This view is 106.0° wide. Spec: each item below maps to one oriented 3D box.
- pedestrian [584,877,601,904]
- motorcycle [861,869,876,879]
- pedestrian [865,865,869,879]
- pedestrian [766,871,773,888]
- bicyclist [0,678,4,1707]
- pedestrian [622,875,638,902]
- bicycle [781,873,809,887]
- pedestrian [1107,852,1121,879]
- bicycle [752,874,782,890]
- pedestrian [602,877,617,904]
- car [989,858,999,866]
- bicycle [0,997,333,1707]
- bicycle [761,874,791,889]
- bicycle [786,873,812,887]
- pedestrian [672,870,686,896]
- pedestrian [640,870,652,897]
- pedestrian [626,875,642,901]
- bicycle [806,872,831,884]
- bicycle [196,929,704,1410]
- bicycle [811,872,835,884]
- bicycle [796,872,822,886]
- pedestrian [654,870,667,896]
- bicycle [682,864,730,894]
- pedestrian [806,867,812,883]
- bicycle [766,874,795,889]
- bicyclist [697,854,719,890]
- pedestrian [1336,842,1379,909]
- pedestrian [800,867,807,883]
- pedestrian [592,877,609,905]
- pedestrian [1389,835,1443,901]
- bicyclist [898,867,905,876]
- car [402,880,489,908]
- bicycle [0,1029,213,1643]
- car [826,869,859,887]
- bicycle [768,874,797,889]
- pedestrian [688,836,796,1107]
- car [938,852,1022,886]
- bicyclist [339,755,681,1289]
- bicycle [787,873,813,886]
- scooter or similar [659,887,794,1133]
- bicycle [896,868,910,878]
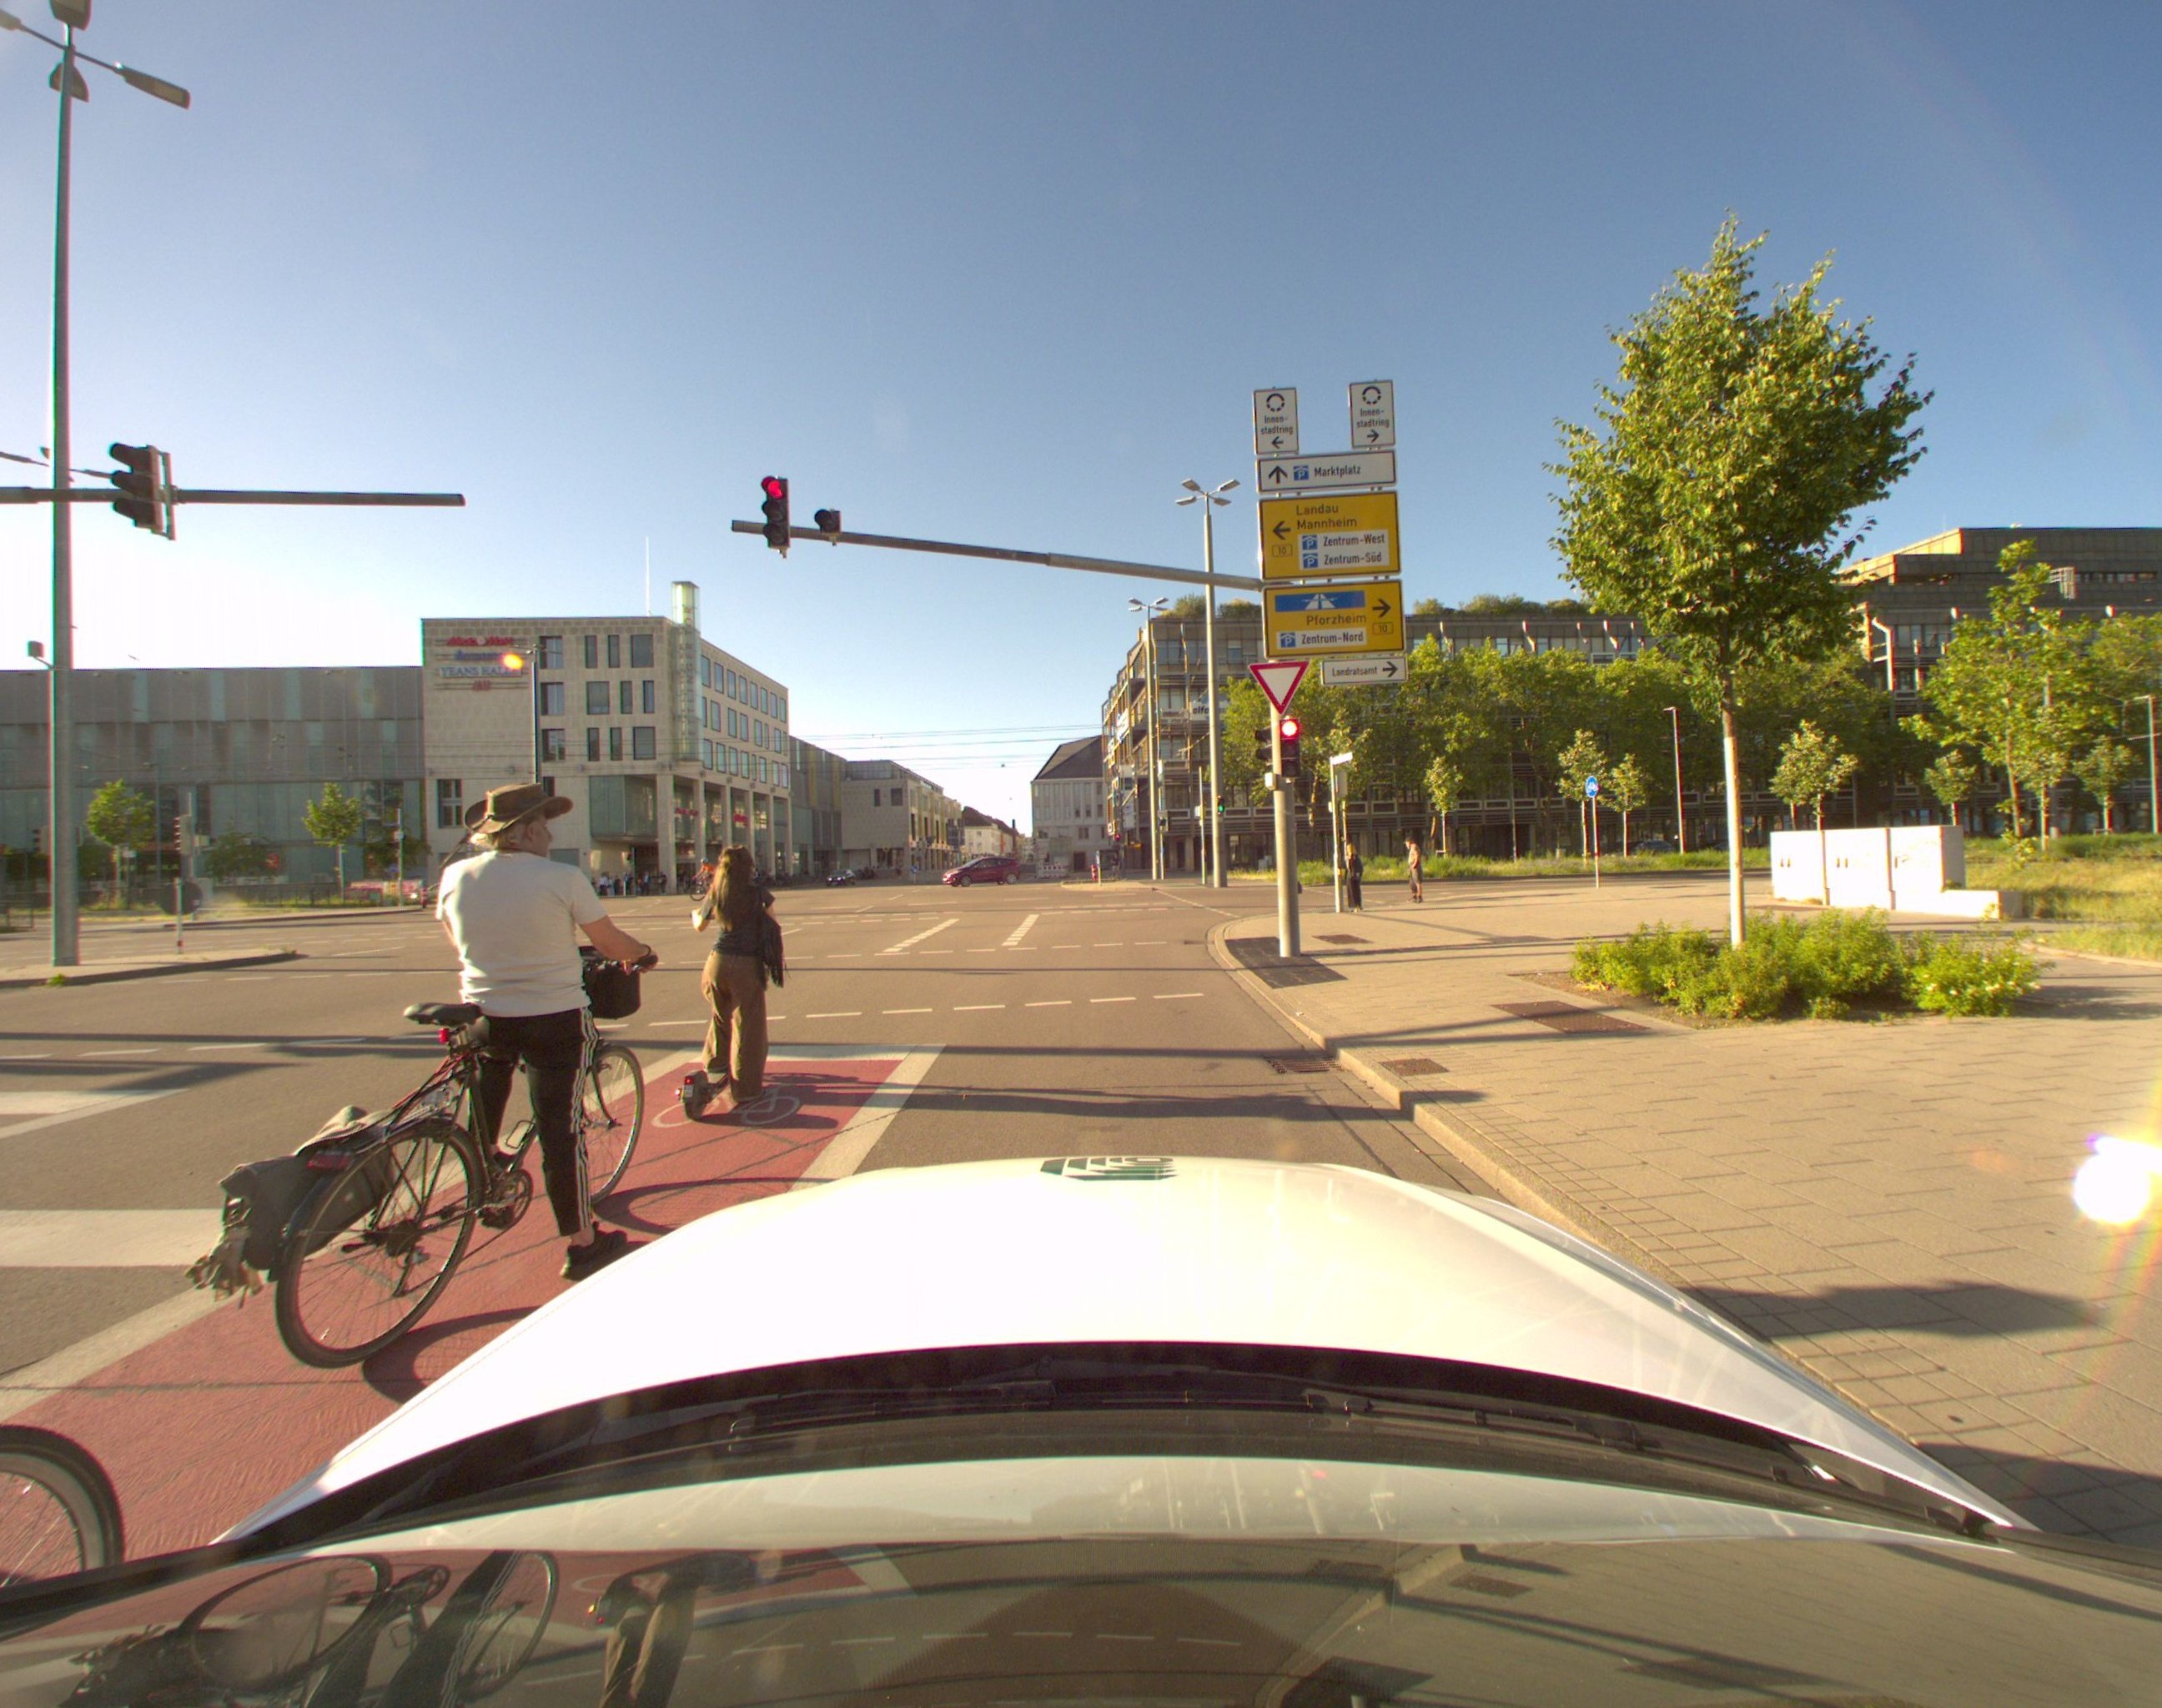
[{"bbox_3d":[-35.030,2.592,58.449,0.783,1.885,0.716,0,-1,-4],"label":"pedestrian"},{"bbox_3d":[-25.779,2.419,98.745,1.807,1.206,0.509,0,0,-14],"label":"motorcycle"},{"bbox_3d":[-26.099,2.180,99.361,0.521,1.679,0.580,0,0,-12],"label":"pedestrian"},{"bbox_3d":[-30.533,2.500,79.798,0.448,1.719,0.649,-2,0,-3],"label":"pedestrian"},{"bbox_3d":[-1.785,0.553,0.664,0.639,1.579,0.875,0,0,-1],"label":"bicyclist"},{"bbox_3d":[-31.945,2.446,57.698,0.783,1.885,0.716,0,-1,-4],"label":"pedestrian"},{"bbox_3d":[-26.695,2.454,75.969,2.299,1.222,0.612,-2,0,-1],"label":"bicycle"},{"bbox_3d":[2.328,0.808,57.502,0.790,1.890,0.640,0,-1,-20],"label":"pedestrian"},{"bbox_3d":[-26.732,2.400,69.380,2.299,1.222,0.612,-2,0,-1],"label":"bicycle"},{"bbox_3d":[-33.991,2.619,58.726,0.714,1.885,0.786,0,-1,-6],"label":"pedestrian"},{"bbox_3d":[-17.857,1.601,166.820,1.793,1.657,3.997,0,-1,-2],"label":"car"},{"bbox_3d":[-1.780,0.896,0.687,0.614,1.218,1.831,0,0,-1],"label":"bicycle"},{"bbox_3d":[-26.461,2.409,70.657,2.299,1.222,0.612,-2,0,-1],"label":"bicycle"},{"bbox_3d":[-27.061,2.474,78.137,2.299,1.222,0.612,-2,0,-1],"label":"bicycle"},{"bbox_3d":[-29.105,2.060,58.946,0.801,1.843,0.855,-2,0,-30],"label":"pedestrian"},{"bbox_3d":[-31.129,2.106,58.237,0.718,1.885,0.781,0,-1,-25],"label":"pedestrian"},{"bbox_3d":[-32.511,2.462,59.250,0.783,1.885,0.716,0,-1,-4],"label":"pedestrian"},{"bbox_3d":[-27.586,2.538,85.587,2.299,1.222,0.612,-2,0,-1],"label":"bicycle"},{"bbox_3d":[-2.149,0.945,3.143,0.483,1.156,1.832,0,-1,2],"label":"bicycle"},{"bbox_3d":[-27.422,2.546,86.653,2.299,1.222,0.612,-2,0,-1],"label":"bicycle"},{"bbox_3d":[-27.183,2.501,81.349,2.299,1.222,0.612,-2,0,-1],"label":"bicycle"},{"bbox_3d":[-30.791,2.113,59.672,0.800,1.843,0.856,-2,0,-26],"label":"pedestrian"},{"bbox_3d":[-14.997,0.974,32.576,1.657,1.154,0.491,0,-1,-36],"label":"bicycle"},{"bbox_3d":[-29.718,2.267,88.916,0.553,1.679,0.606,0,0,-8],"label":"pedestrian"},{"bbox_3d":[-26.564,2.420,72.017,2.299,1.222,0.612,-2,0,-1],"label":"bicycle"},{"bbox_3d":[-14.933,0.709,32.622,0.716,1.437,0.491,0,-1,-36],"label":"bicyclist"},{"bbox_3d":[6.327,0.490,18.664,0.785,1.492,0.644,0,-1,1],"label":"pedestrian"},{"bbox_3d":[-30.251,2.283,88.742,0.570,1.679,0.614,0,0,-8],"label":"pedestrian"},{"bbox_3d":[-33.868,2.608,57.379,0.783,1.885,0.716,0,-1,-4],"label":"pedestrian"},{"bbox_3d":[8.643,0.360,21.035,0.880,1.665,0.959,0,-1,-16],"label":"pedestrian"},{"bbox_3d":[-22.045,2.152,100.130,0.505,1.084,0.629,0,0,31],"label":"bicyclist"},{"bbox_3d":[-38.980,2.457,50.013,3.892,1.585,1.656,0,-1,-5],"label":"car"},{"bbox_3d":[-2.423,0.984,0.985,0.645,1.109,1.970,0,0,-1],"label":"bicycle"},{"bbox_3d":[-20.623,2.043,70.513,1.625,1.342,3.999,-4,-1,0],"label":"car"},{"bbox_3d":[-26.739,2.429,72.902,2.299,1.222,0.612,-2,0,-1],"label":"bicycle"},{"bbox_3d":[-2.163,0.707,5.248,0.549,1.633,0.569,0,-1,-13],"label":"pedestrian"},{"bbox_3d":[-5.129,0.739,41.553,3.907,1.585,1.644,-2,-1,-28],"label":"car"},{"bbox_3d":[-2.057,0.545,3.066,0.658,1.720,0.866,0,-1,1],"label":"bicyclist"},{"bbox_3d":[-27.627,2.494,80.132,2.299,1.222,0.612,-2,0,-1],"label":"bicycle"},{"bbox_3d":[-2.157,0.872,5.079,0.547,1.294,1.188,0,-1,-13],"label":"scooter or similar"},{"bbox_3d":[-21.931,2.325,100.294,0.505,1.206,1.822,0,0,31],"label":"bicycle"}]
